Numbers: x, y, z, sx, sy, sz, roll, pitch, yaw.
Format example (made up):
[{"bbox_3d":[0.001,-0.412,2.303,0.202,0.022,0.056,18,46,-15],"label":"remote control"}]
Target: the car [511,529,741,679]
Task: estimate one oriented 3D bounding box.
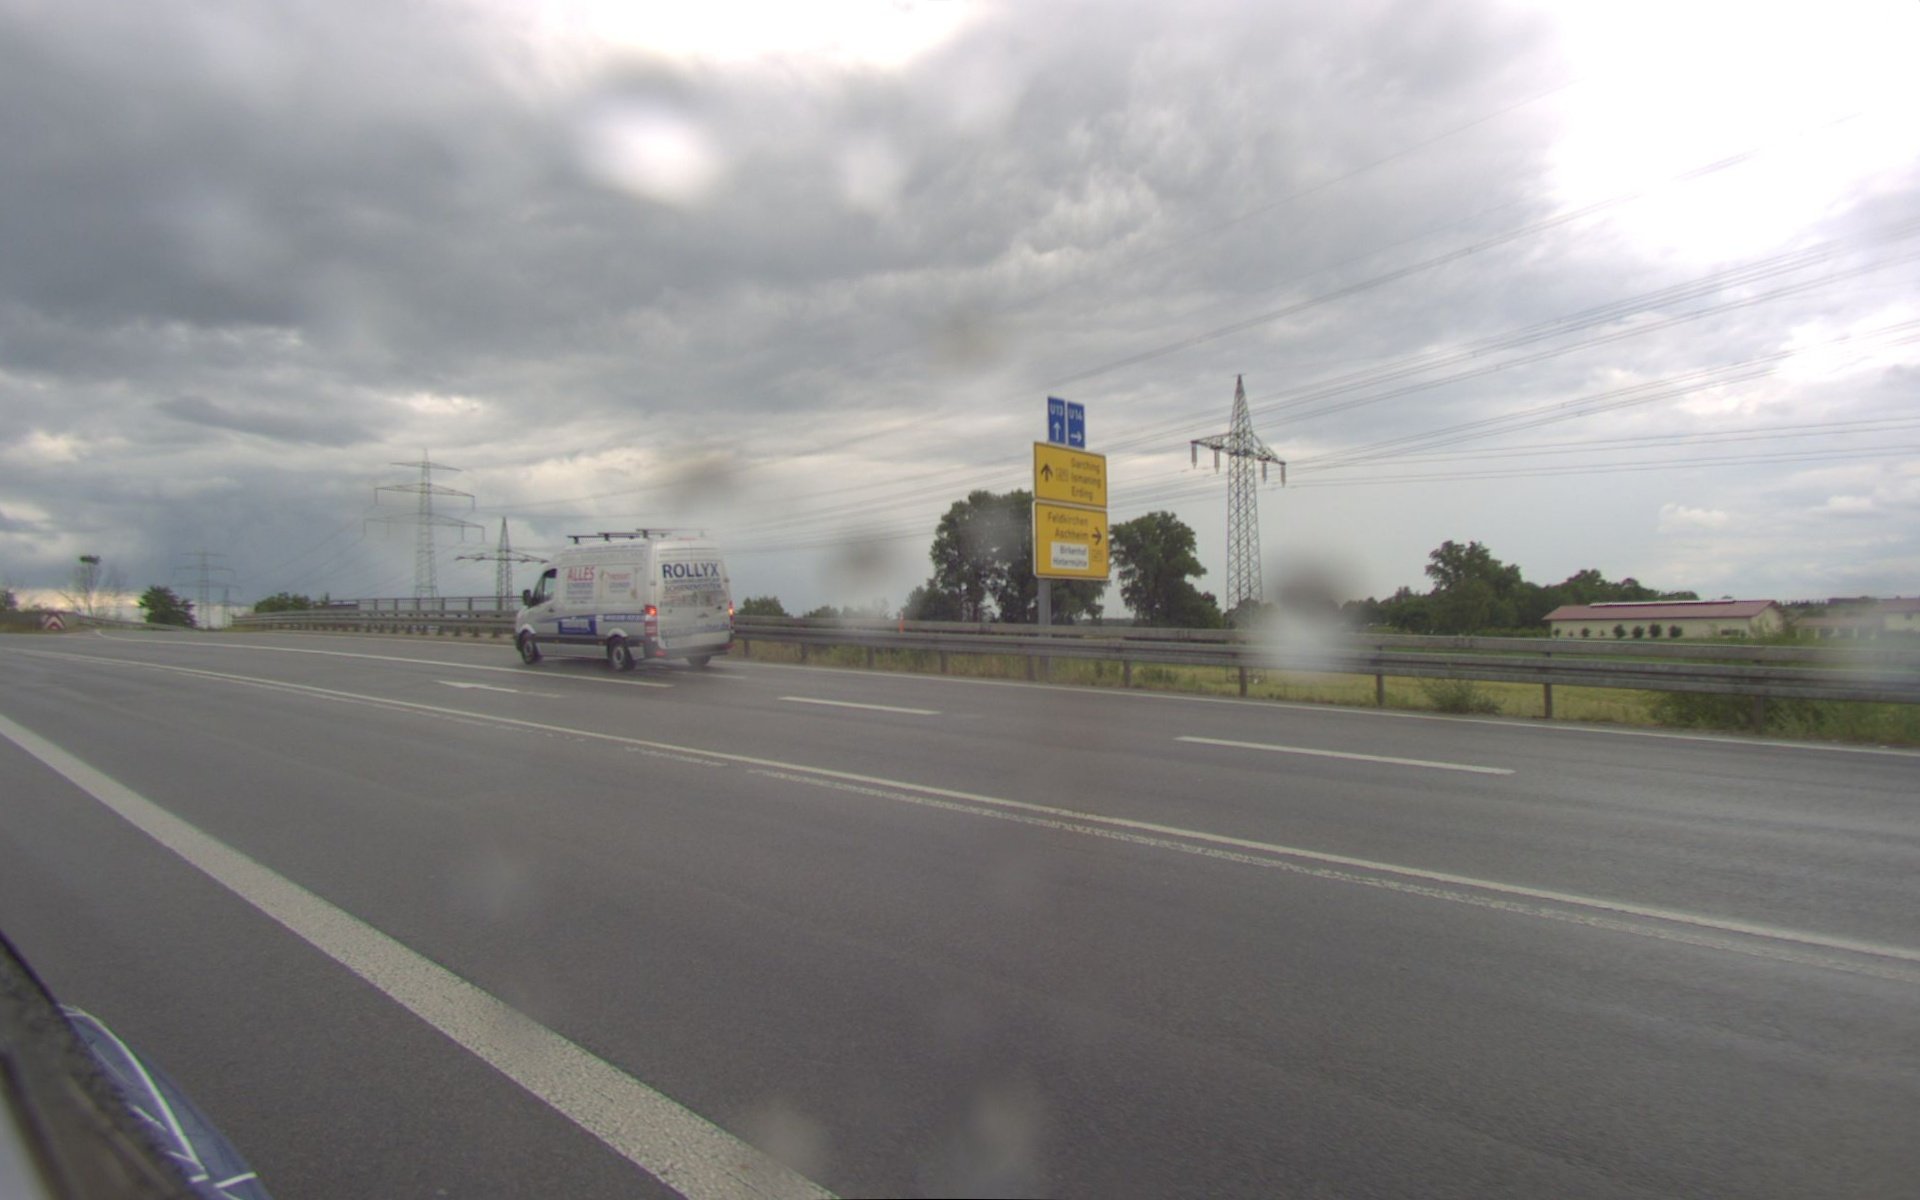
[{"bbox_3d":[-6.936,0.087,20.633,5.457,2.674,1.949,-1,0,41],"label":"car"}]
